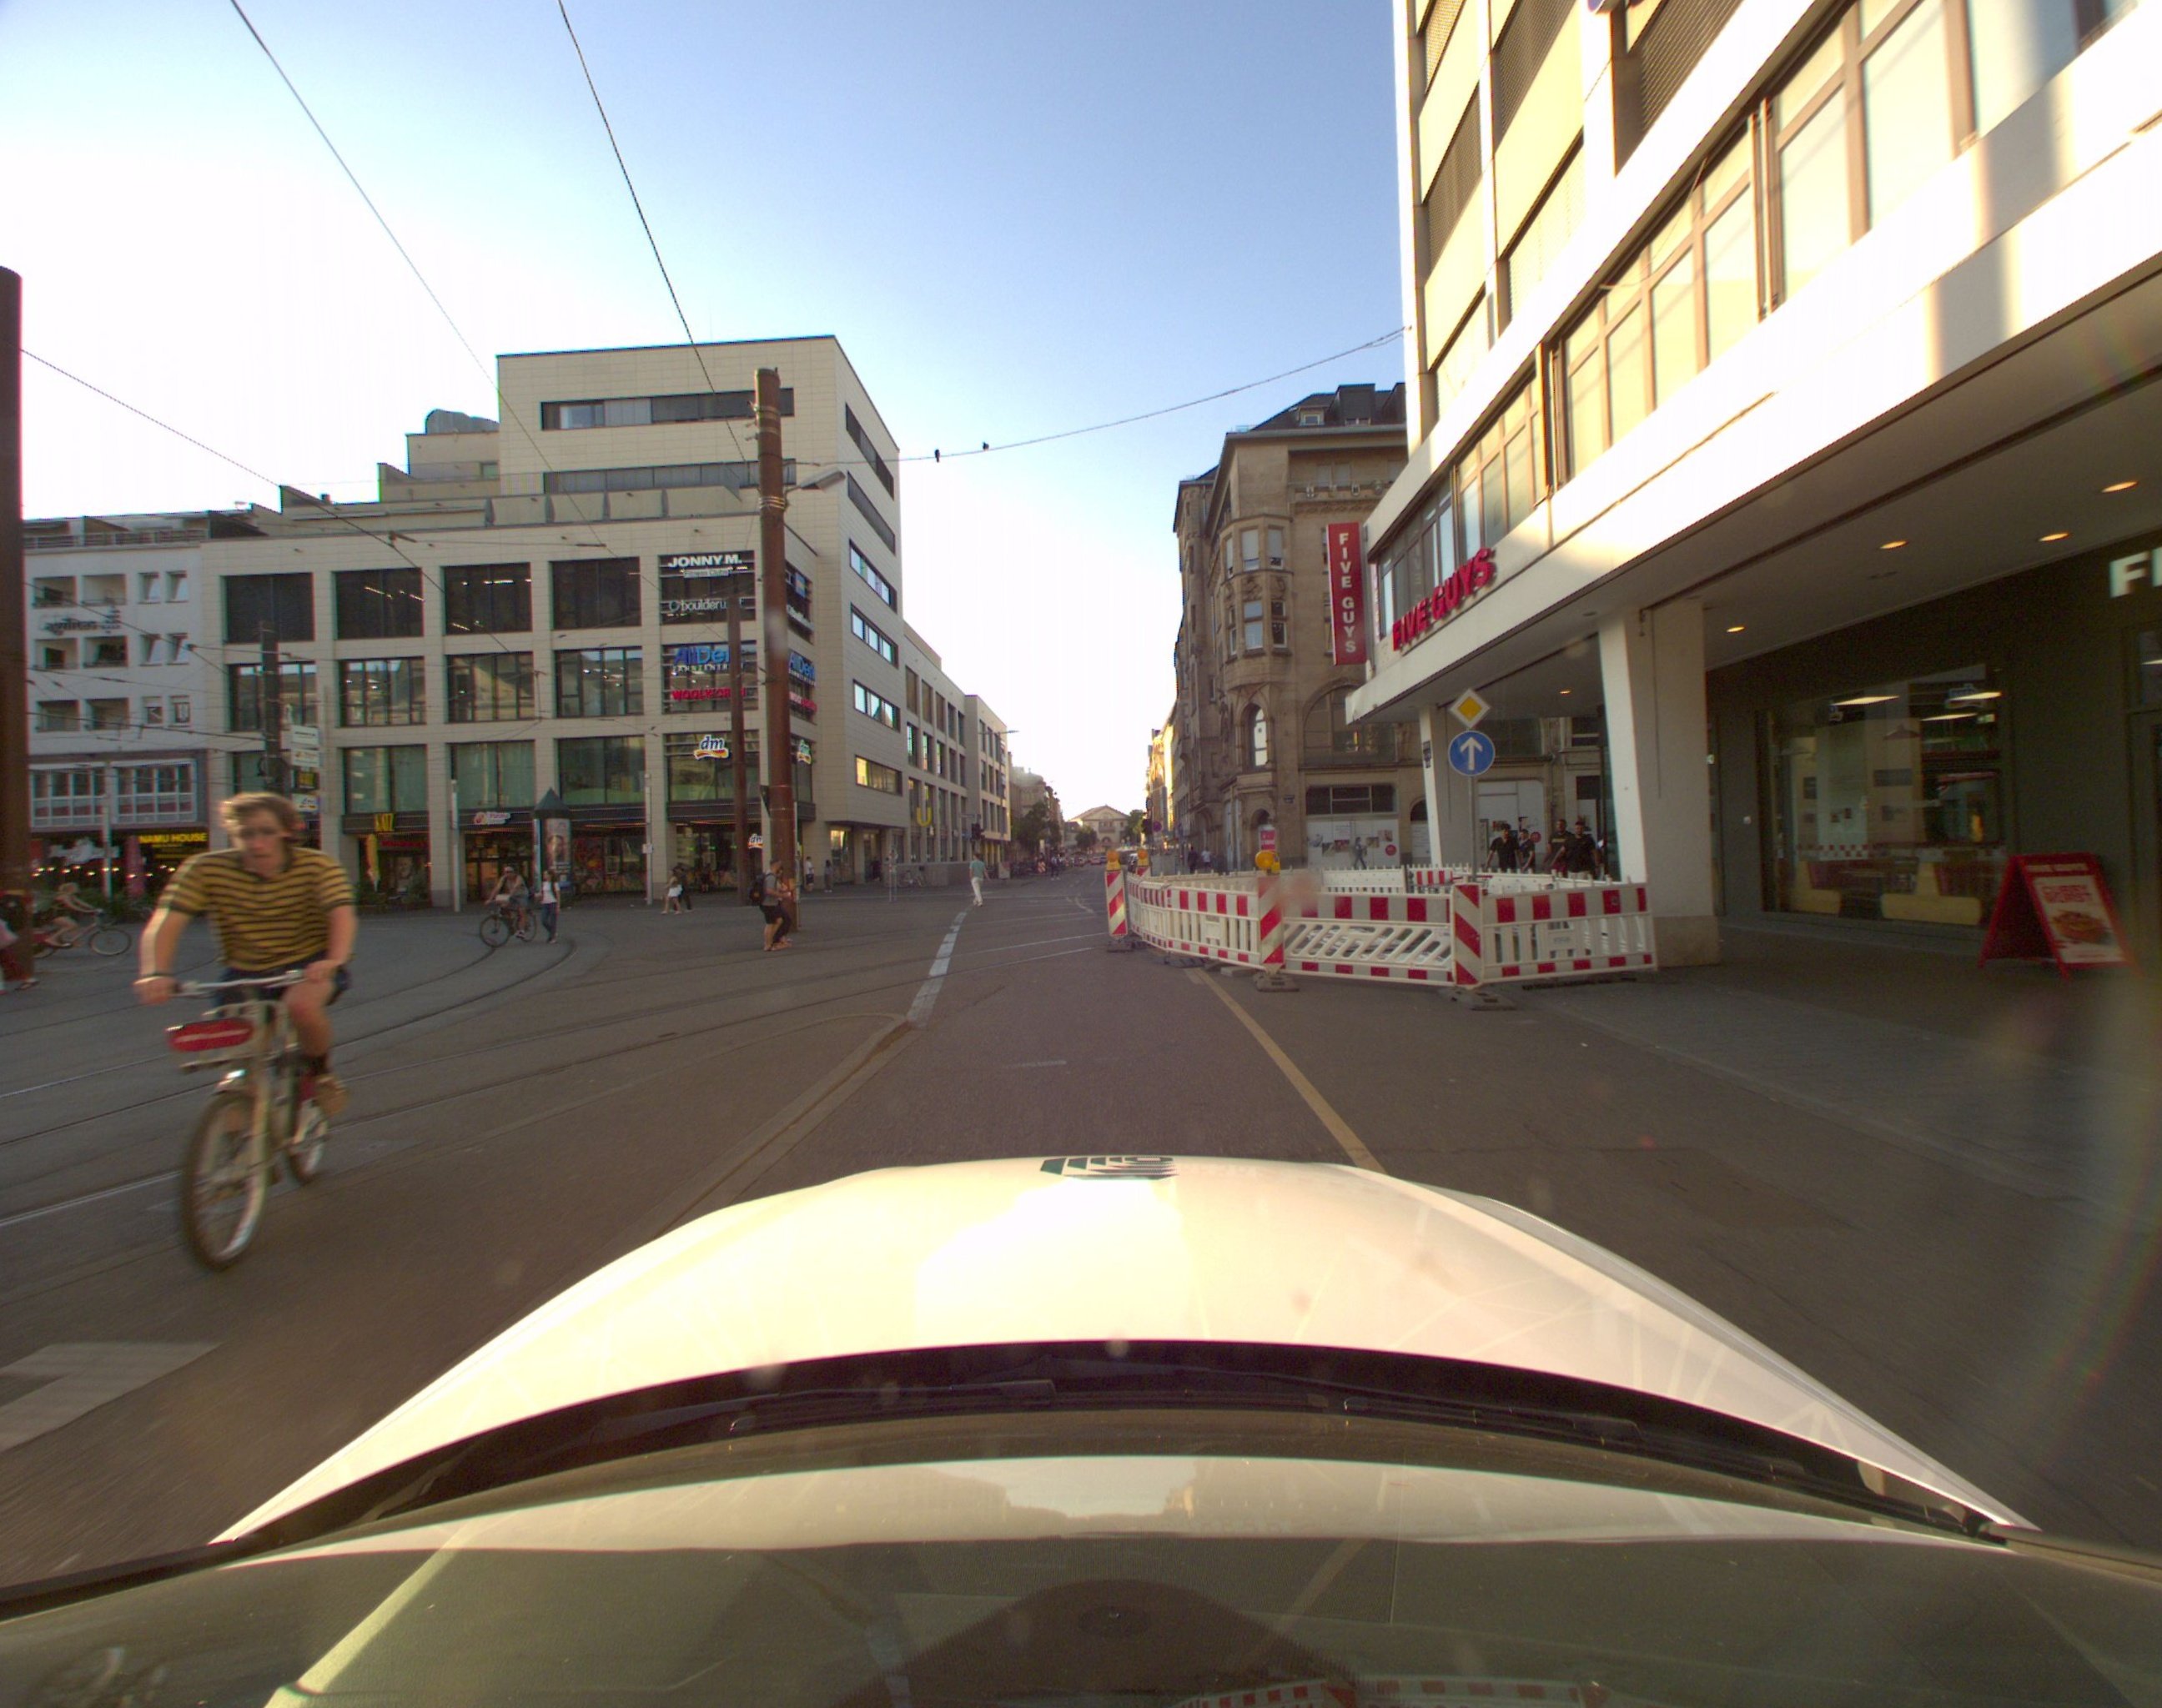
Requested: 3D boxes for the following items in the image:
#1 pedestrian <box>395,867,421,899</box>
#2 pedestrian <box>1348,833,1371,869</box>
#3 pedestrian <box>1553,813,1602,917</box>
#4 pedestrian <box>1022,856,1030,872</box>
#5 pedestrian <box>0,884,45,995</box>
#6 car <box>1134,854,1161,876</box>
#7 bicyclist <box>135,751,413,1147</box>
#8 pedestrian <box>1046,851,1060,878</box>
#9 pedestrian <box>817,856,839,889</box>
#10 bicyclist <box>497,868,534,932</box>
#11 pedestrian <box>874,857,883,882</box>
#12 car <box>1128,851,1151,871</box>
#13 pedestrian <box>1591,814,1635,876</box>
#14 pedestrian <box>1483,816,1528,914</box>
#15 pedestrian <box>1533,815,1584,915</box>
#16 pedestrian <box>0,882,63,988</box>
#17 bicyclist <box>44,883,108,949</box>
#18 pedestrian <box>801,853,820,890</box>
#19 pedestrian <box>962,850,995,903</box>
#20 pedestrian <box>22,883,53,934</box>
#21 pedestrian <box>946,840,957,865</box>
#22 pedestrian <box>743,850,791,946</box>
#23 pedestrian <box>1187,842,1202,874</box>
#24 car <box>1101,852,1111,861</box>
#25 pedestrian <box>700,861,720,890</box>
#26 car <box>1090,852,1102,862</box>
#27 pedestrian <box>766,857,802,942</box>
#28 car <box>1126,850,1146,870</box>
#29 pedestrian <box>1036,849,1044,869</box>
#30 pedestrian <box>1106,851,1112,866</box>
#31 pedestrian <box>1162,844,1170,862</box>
[{"bbox_3d":[-35.399,1.510,42.850,0.810,1.680,0.684,-1,0,3],"label":"pedestrian"},{"bbox_3d":[12.646,-0.120,36.985,0.816,1.611,0.714,-1,0,2],"label":"pedestrian"},{"bbox_3d":[9.814,0.217,16.101,0.698,2.014,0.474,-1,-1,44],"label":"pedestrian"},{"bbox_3d":[-5.594,1.003,82.518,0.748,1.529,0.485,-2,0,2],"label":"pedestrian"},{"bbox_3d":[-16.409,1.284,12.206,0.824,1.614,0.688,-2,0,-23],"label":"pedestrian"},{"bbox_3d":[4.488,0.718,55.483,1.672,1.424,3.675,-1,0,2],"label":"car"},{"bbox_3d":[-3.642,0.374,3.757,0.610,1.593,0.786,-2,0,-22],"label":"bicyclist"},{"bbox_3d":[-1.836,0.708,53.896,0.833,1.720,0.681,-2,0,-5],"label":"pedestrian"},{"bbox_3d":[-13.154,0.959,42.299,0.760,1.659,0.820,-1,0,16],"label":"pedestrian"},{"bbox_3d":[-13.004,1.049,18.737,0.418,1.427,0.564,-1,0,5],"label":"bicyclist"},{"bbox_3d":[-12.264,0.932,49.324,0.388,1.515,0.506,-2,0,1],"label":"pedestrian"},{"bbox_3d":[4.733,0.547,65.976,1.672,1.547,3.675,-3,0,2],"label":"car"},{"bbox_3d":[15.222,-0.249,23.307,0.773,1.735,0.714,-1,0,2],"label":"pedestrian"},{"bbox_3d":[8.999,0.229,17.268,0.698,2.014,0.474,-1,-1,44],"label":"pedestrian"},{"bbox_3d":[9.863,0.218,16.819,0.771,2.014,0.520,-1,-1,44],"label":"pedestrian"},{"bbox_3d":[-16.937,1.276,12.883,0.773,1.614,0.662,-2,0,-23],"label":"pedestrian"},{"bbox_3d":[-23.528,1.425,19.083,0.879,1.465,0.592,0,-1,-45],"label":"bicyclist"},{"bbox_3d":[-13.678,0.869,41.186,0.568,1.855,0.819,-1,0,15],"label":"pedestrian"},{"bbox_3d":[-3.438,0.738,27.454,0.859,1.761,0.771,-1,0,14],"label":"pedestrian"},{"bbox_3d":[-34.478,1.800,26.901,0.676,1.636,0.589,-3,-1,37],"label":"pedestrian"},{"bbox_3d":[-8.983,-0.101,56.413,0.678,1.680,0.600,-1,0,0],"label":"pedestrian"},{"bbox_3d":[-5.771,0.784,14.993,0.746,1.700,0.606,-2,0,-20],"label":"pedestrian"},{"bbox_3d":[6.036,0.208,43.261,0.623,1.690,0.671,-2,0,1],"label":"pedestrian"},{"bbox_3d":[5.379,0.527,176.455,1.985,1.904,4.002,-1,0,2],"label":"car"},{"bbox_3d":[-19.908,1.129,43.713,0.568,1.526,0.794,-1,0,15],"label":"pedestrian"},{"bbox_3d":[2.864,0.554,154.198,1.985,1.904,4.002,-1,0,2],"label":"car"},{"bbox_3d":[-5.690,0.857,15.623,0.571,1.593,0.445,-2,0,-18],"label":"pedestrian"},{"bbox_3d":[4.882,0.518,72.684,1.672,1.613,4.031,-3,0,2],"label":"car"},{"bbox_3d":[-3.746,0.452,74.762,0.656,1.823,0.527,-2,0,-8],"label":"pedestrian"},{"bbox_3d":[3.705,0.590,106.763,0.599,1.823,0.450,-2,0,-14],"label":"pedestrian"},{"bbox_3d":[8.069,-0.130,76.928,0.641,1.690,0.671,-2,0,1],"label":"pedestrian"}]
